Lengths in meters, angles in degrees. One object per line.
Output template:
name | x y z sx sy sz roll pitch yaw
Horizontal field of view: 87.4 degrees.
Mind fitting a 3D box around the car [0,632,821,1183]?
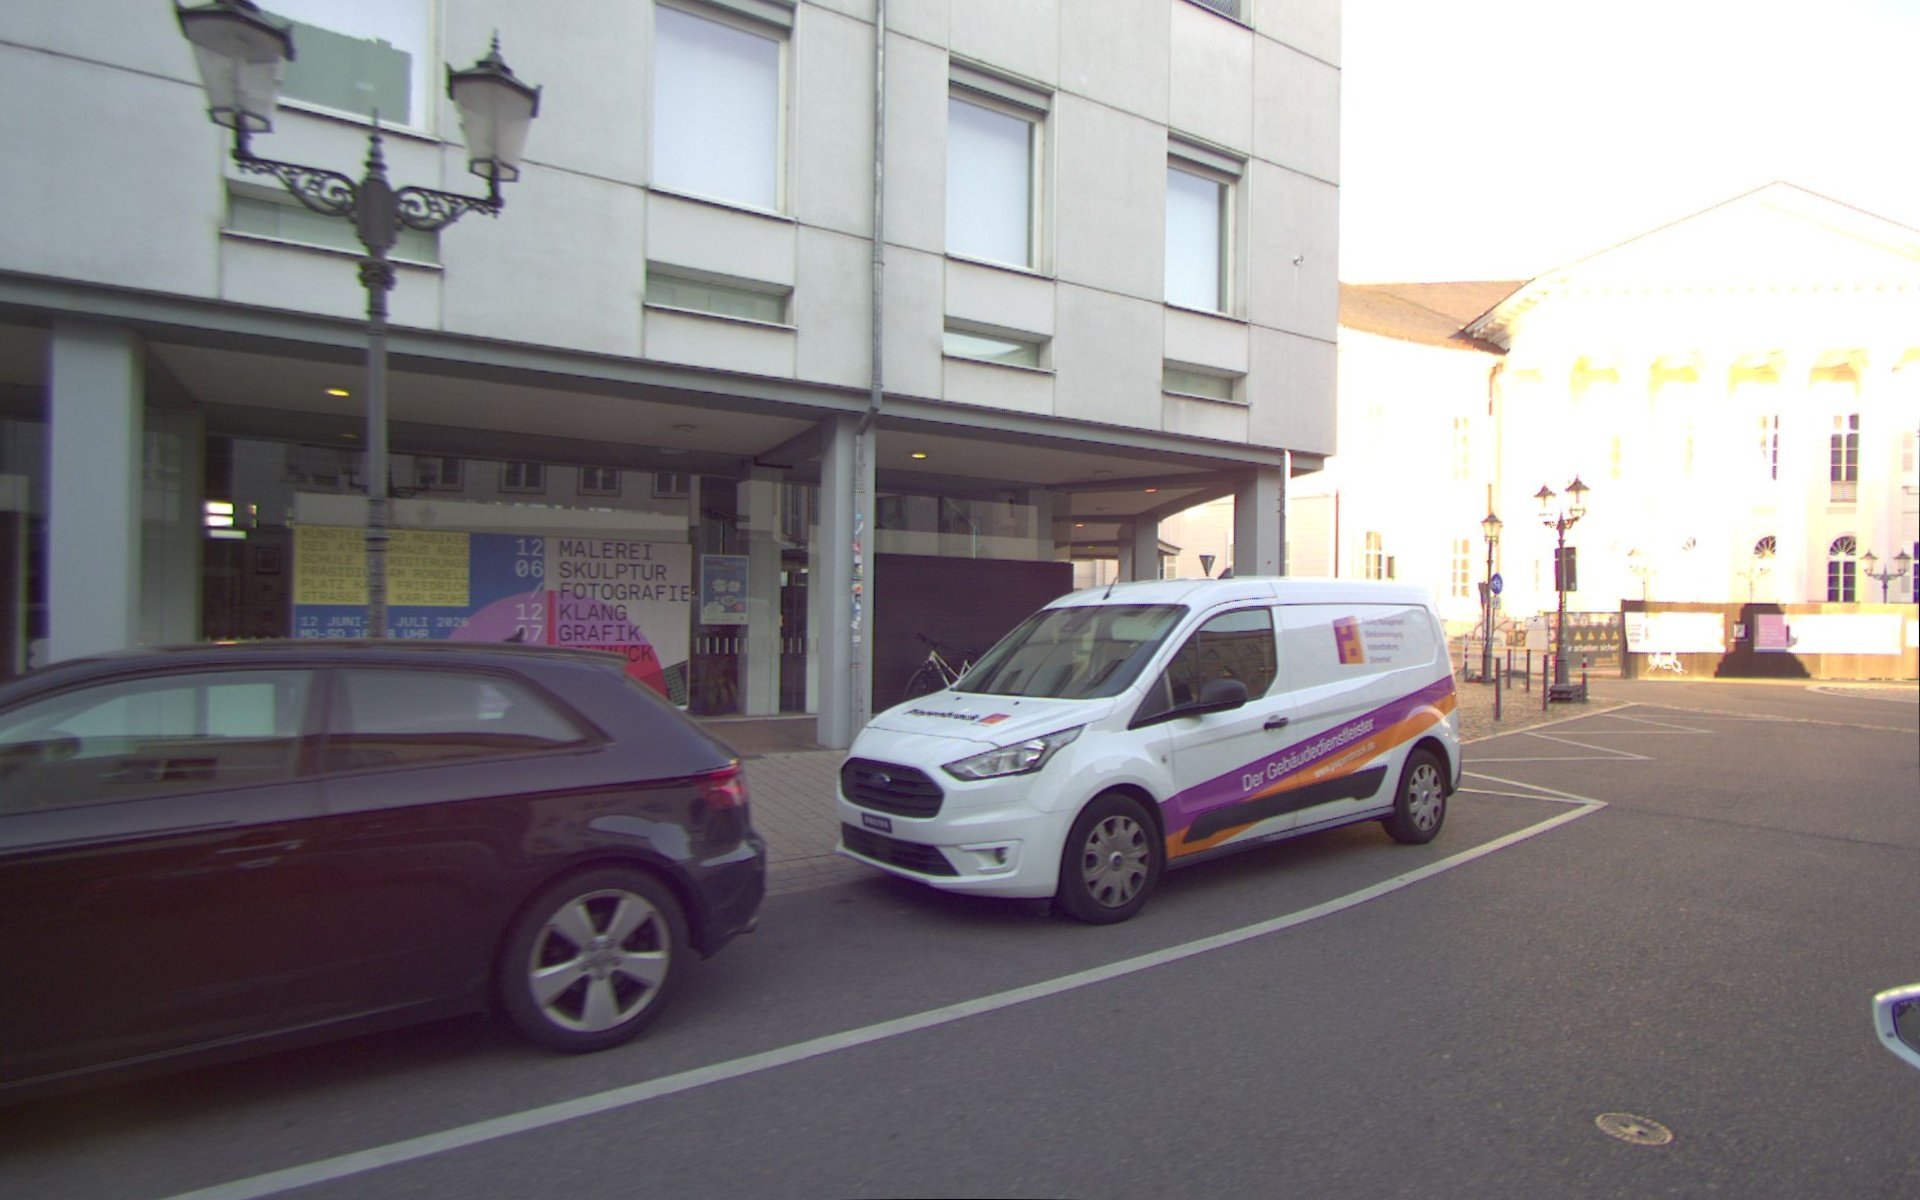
car | -2.683 0.821 3.440 4.061 1.371 1.668 1 -1 -33

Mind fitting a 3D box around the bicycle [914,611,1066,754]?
bicycle | 0.366 0.923 11.682 1.712 1.560 0.575 1 0 -31

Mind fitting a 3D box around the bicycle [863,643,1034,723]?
bicycle | -0.138 1.115 13.881 2.309 0.997 0.729 1 0 -32

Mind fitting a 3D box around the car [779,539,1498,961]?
car | 1.407 0.695 6.613 4.740 1.840 1.979 1 -1 -37
